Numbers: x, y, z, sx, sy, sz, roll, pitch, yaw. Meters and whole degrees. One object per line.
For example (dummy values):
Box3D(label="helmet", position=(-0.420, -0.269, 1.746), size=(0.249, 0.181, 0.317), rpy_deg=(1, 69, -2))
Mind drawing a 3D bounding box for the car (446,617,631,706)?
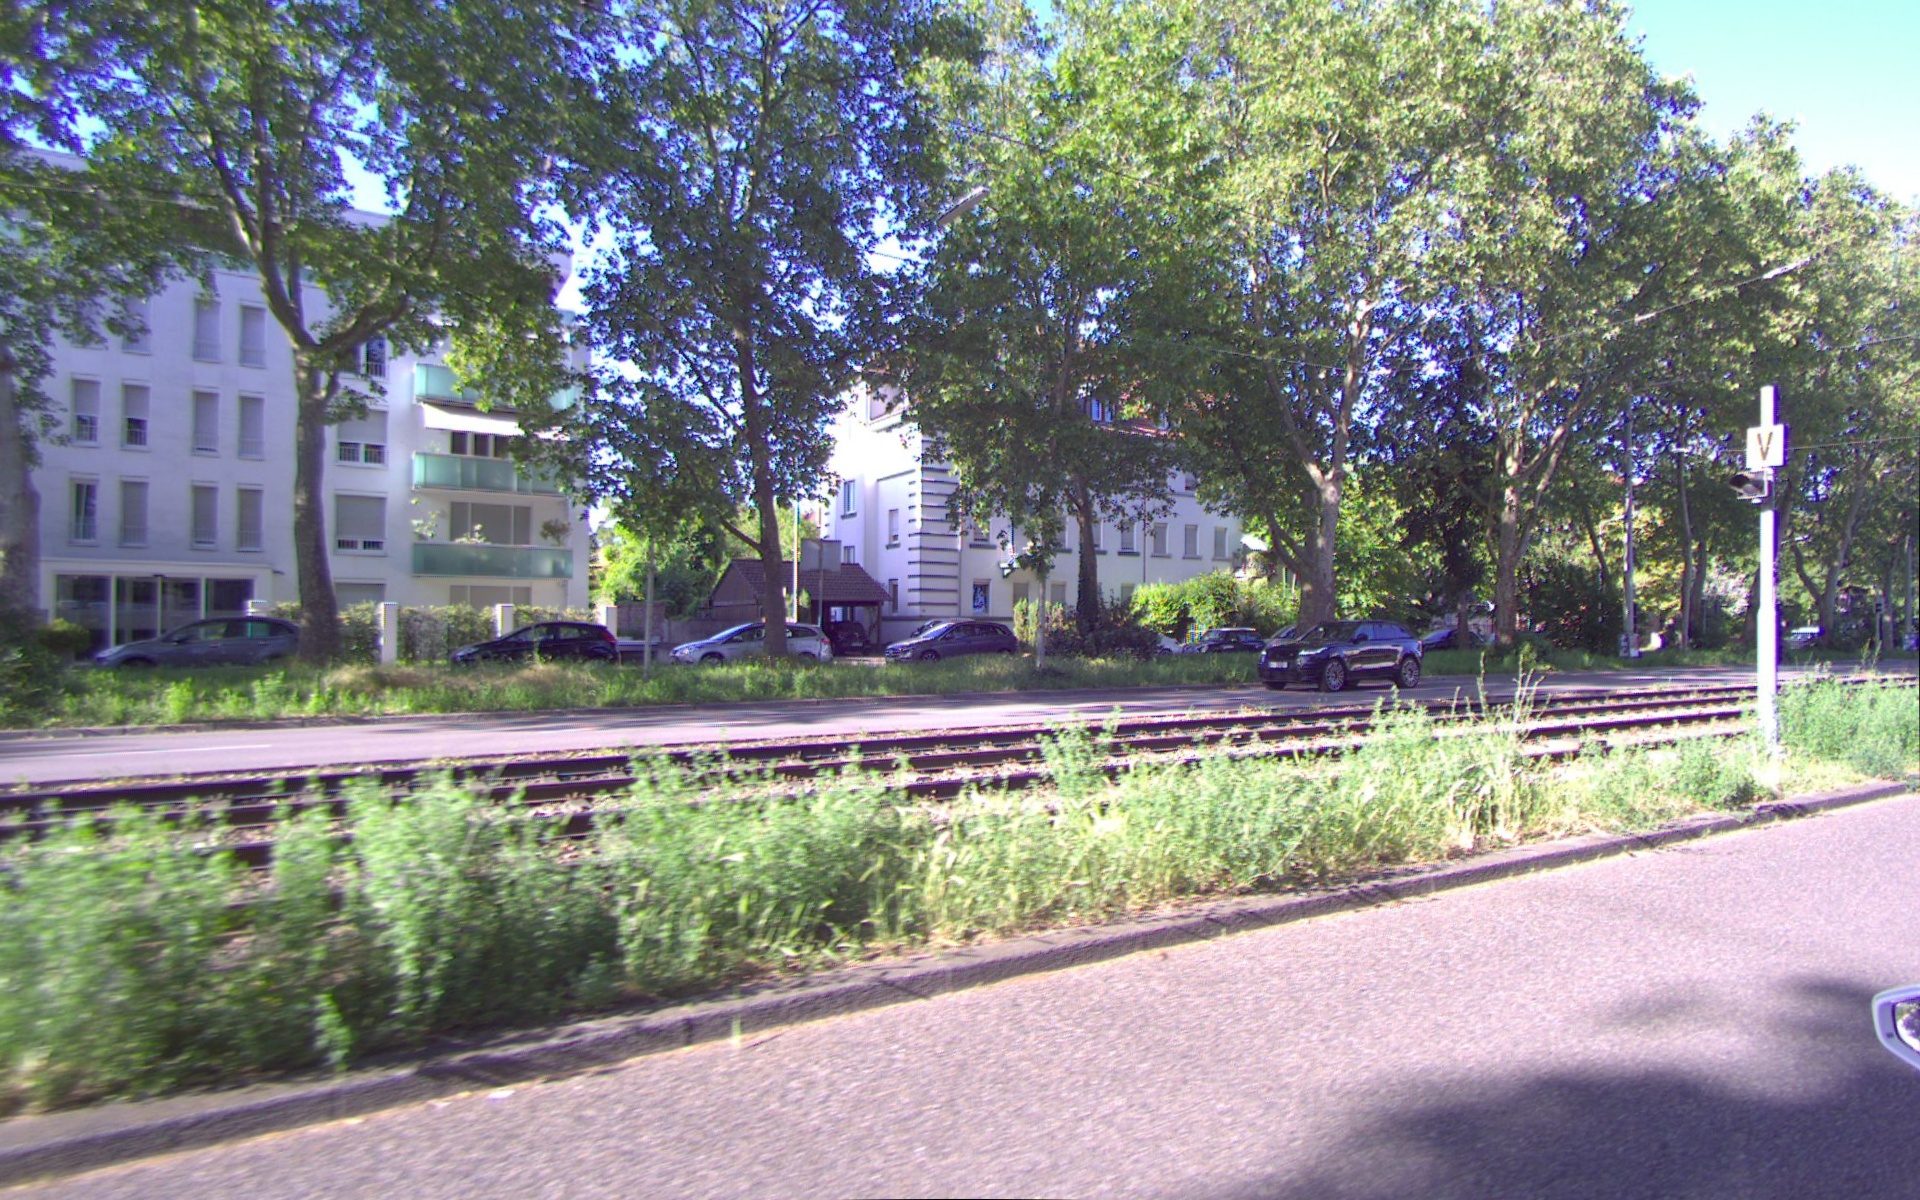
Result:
Box3D(label="car", position=(-10.435, 1.449, 24.909), size=(4.053, 2.040, 1.985), rpy_deg=(1, -1, -30))

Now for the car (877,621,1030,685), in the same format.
Box3D(label="car", position=(-0.181, 1.606, 31.265), size=(4.501, 1.860, 1.811), rpy_deg=(1, -1, -31))

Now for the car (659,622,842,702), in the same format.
Box3D(label="car", position=(-5.795, 1.655, 27.886), size=(4.626, 2.040, 1.985), rpy_deg=(1, -1, -29))

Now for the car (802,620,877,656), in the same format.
Box3D(label="car", position=(-5.325, 1.635, 44.009), size=(1.978, 1.528, 3.576), rpy_deg=(1, -1, -32))

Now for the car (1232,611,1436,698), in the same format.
Box3D(label="car", position=(9.021, 1.273, 24.120), size=(4.815, 1.895, 1.984), rpy_deg=(1, -3, -30))

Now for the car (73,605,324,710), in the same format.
Box3D(label="car", position=(-16.084, 1.173, 21.532), size=(4.046, 2.040, 1.983), rpy_deg=(1, -1, -31))

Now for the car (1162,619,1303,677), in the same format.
Box3D(label="car", position=(10.223, 1.736, 37.593), size=(5.208, 2.040, 2.142), rpy_deg=(1, -1, -31))

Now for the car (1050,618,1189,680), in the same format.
Box3D(label="car", position=(5.568, 1.654, 34.969), size=(4.630, 2.040, 1.984), rpy_deg=(1, -1, -31))

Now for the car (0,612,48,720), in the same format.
Box3D(label="car", position=(-20.174, 1.223, 18.878), size=(4.125, 2.040, 1.984), rpy_deg=(1, -1, -31))

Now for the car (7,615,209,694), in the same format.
Box3D(label="car", position=(-23.534, 1.477, 27.973), size=(3.953, 2.040, 1.984), rpy_deg=(1, -1, -30))
